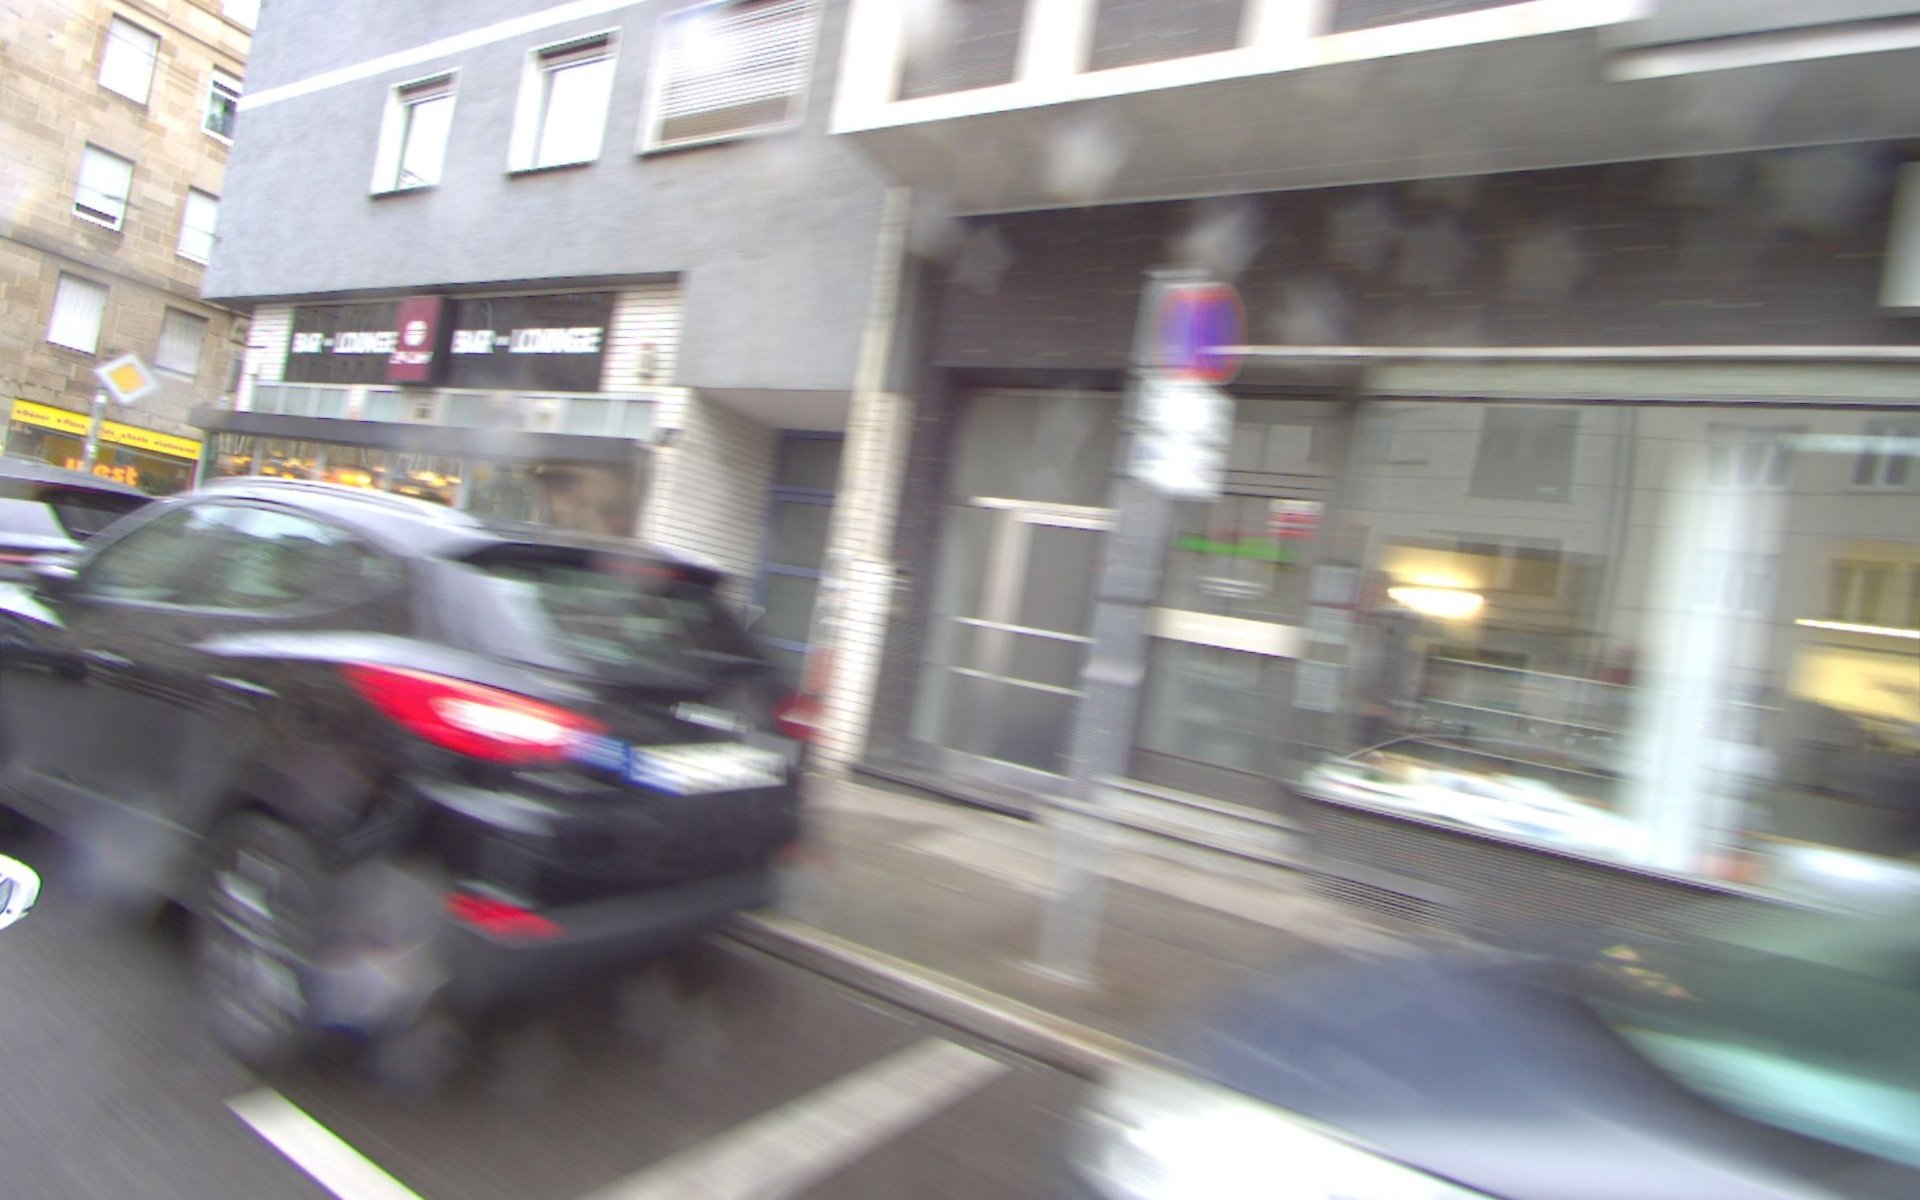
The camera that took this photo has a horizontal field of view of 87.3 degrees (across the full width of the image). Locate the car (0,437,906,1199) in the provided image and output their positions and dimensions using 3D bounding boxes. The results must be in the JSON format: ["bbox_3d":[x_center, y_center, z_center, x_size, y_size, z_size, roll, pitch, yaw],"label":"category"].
[{"bbox_3d":[-2.458,0.405,4.091,4.053,1.689,1.686,7,-1,31],"label":"car"}]

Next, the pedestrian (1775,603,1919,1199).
[{"bbox_3d":[3.402,0.997,3.144,0.998,1.790,0.947,8,-1,30],"label":"pedestrian"}]

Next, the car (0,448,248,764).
[{"bbox_3d":[-6.976,-0.178,6.793,4.625,1.689,1.753,7,-1,32],"label":"car"}]

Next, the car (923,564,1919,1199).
[{"bbox_3d":[2.381,1.062,0.996,4.667,1.577,1.769,7,-2,32],"label":"car"}]
